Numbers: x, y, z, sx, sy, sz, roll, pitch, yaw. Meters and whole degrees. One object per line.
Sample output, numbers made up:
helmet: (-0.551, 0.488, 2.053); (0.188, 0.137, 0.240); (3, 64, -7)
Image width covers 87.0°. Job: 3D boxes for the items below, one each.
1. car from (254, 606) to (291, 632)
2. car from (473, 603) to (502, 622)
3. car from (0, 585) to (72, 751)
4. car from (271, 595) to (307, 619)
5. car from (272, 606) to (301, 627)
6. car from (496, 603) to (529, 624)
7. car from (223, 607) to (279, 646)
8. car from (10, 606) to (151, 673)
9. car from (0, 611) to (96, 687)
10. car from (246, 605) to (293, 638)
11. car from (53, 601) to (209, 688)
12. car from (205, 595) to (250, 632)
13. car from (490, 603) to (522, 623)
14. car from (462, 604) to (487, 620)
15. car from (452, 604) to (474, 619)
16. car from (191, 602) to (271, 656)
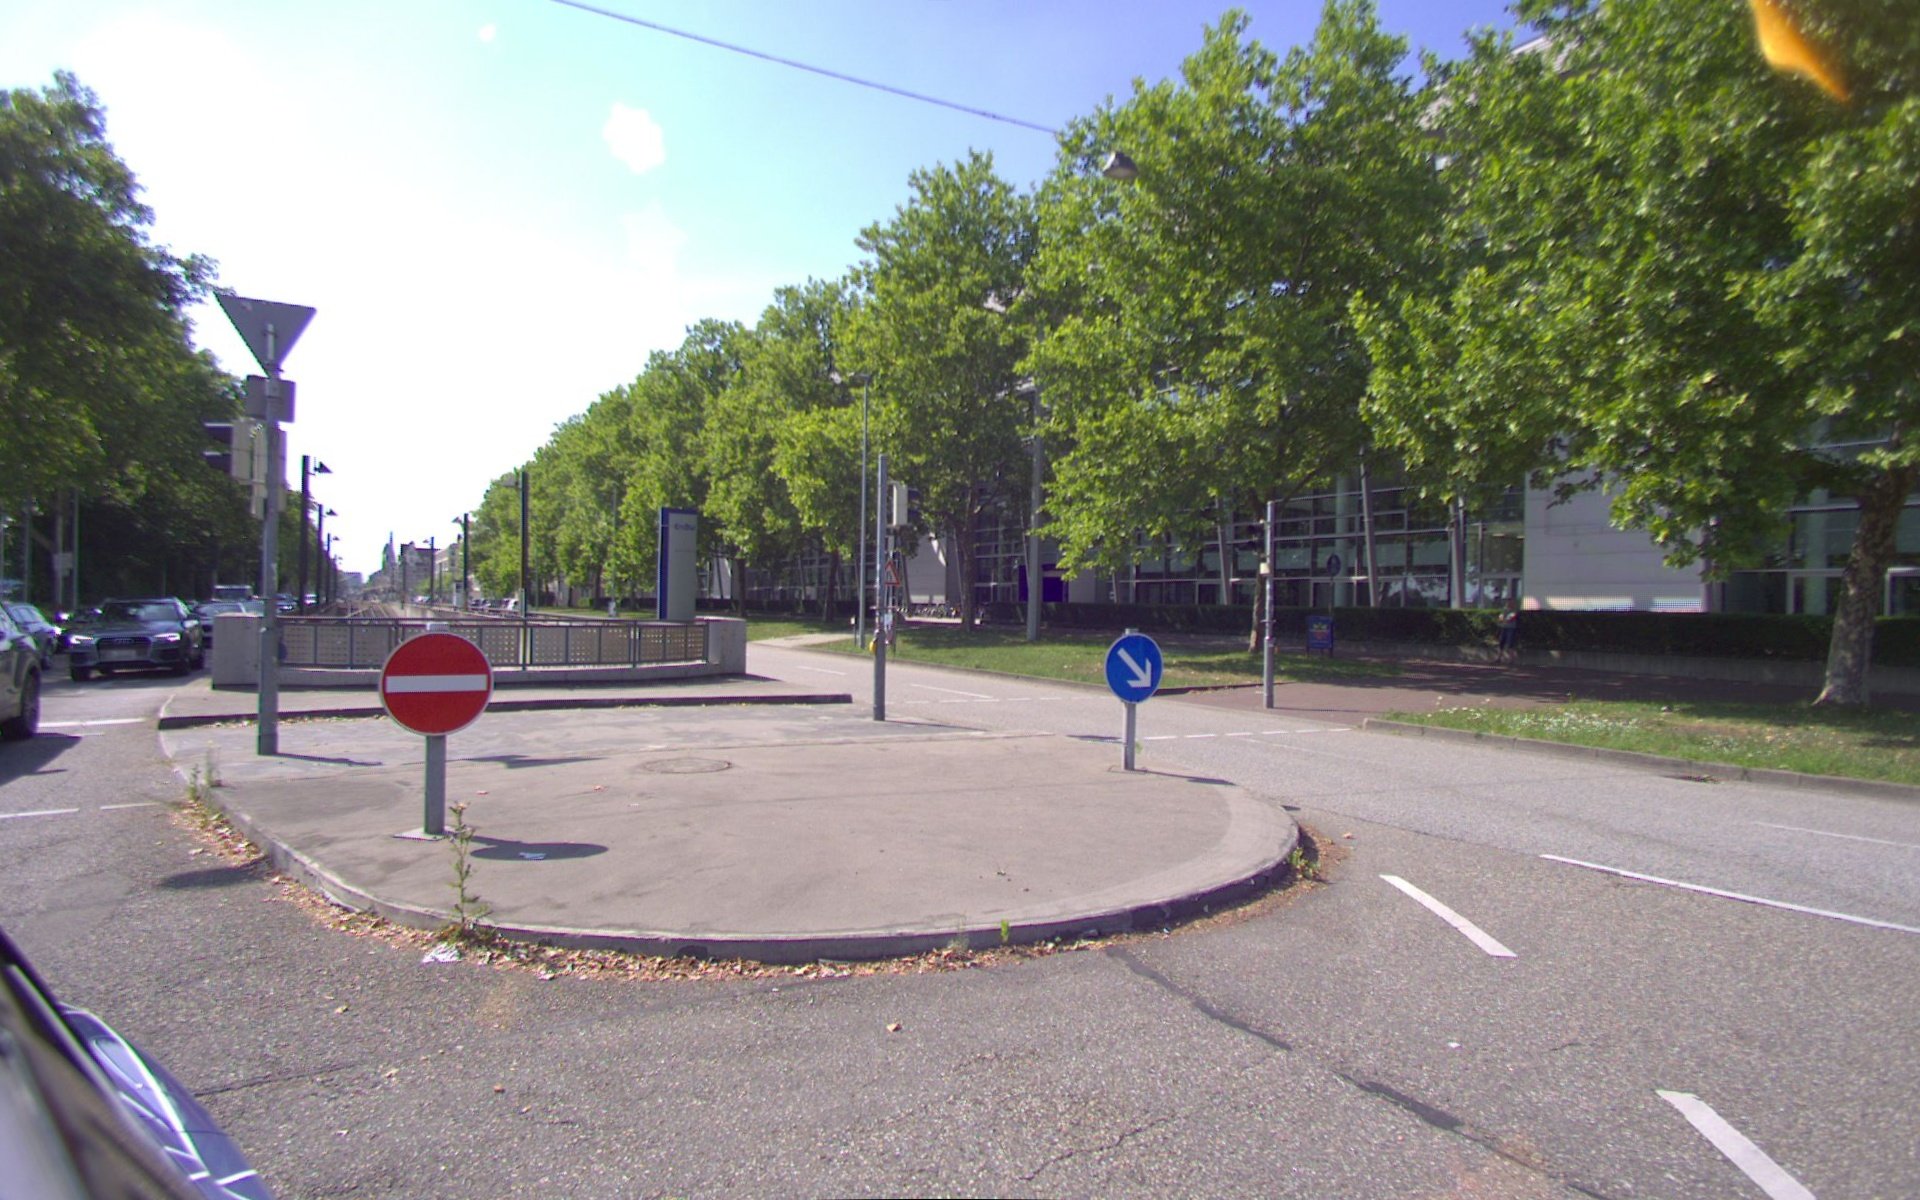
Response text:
car: (-41.992, 1.144, 61.903); (1.753, 1.507, 4.011); (1, -1, -33)
car: (-44.063, 1.164, 94.340); (1.872, 1.652, 4.798); (-1, 0, -33)
car: (-10.310, 0.642, 9.624); (1.915, 1.620, 4.990); (1, -1, -31)
car: (-45.015, 0.452, 67.970); (1.792, 1.541, 4.012); (2, -1, -31)
car: (-52.571, 1.279, 79.058); (1.753, 1.507, 4.011); (1, -1, -33)
car: (-36.168, 1.063, 81.767); (1.872, 1.652, 4.011); (-1, 0, -33)
car: (-29.754, 1.083, 42.557); (1.753, 1.507, 4.011); (1, -1, -33)
car: (-25.350, 1.069, 29.394); (1.965, 1.737, 5.181); (-1, 0, -28)
car: (-24.162, 1.221, 26.404); (1.868, 1.785, 4.184); (1, 0, -33)
car: (-33.577, 1.036, 49.312); (1.753, 1.507, 4.011); (1, -1, -33)
car: (-16.768, 0.822, 20.700); (1.799, 1.561, 4.574); (1, -1, -31)
car: (-48.812, 0.859, 67.515); (2.066, 2.369, 5.652); (1, -1, -33)
car: (-38.786, 1.096, 86.421); (1.872, 1.652, 4.011); (-1, 0, -33)
car: (-50.660, 1.248, 105.481); (1.872, 1.652, 4.011); (-1, 0, -33)
car: (-57.614, 1.358, 117.217); (1.872, 1.652, 4.011); (-1, 0, -33)
car: (-23.630, 0.906, 32.932); (1.788, 1.626, 4.012); (-1, 0, -31)
